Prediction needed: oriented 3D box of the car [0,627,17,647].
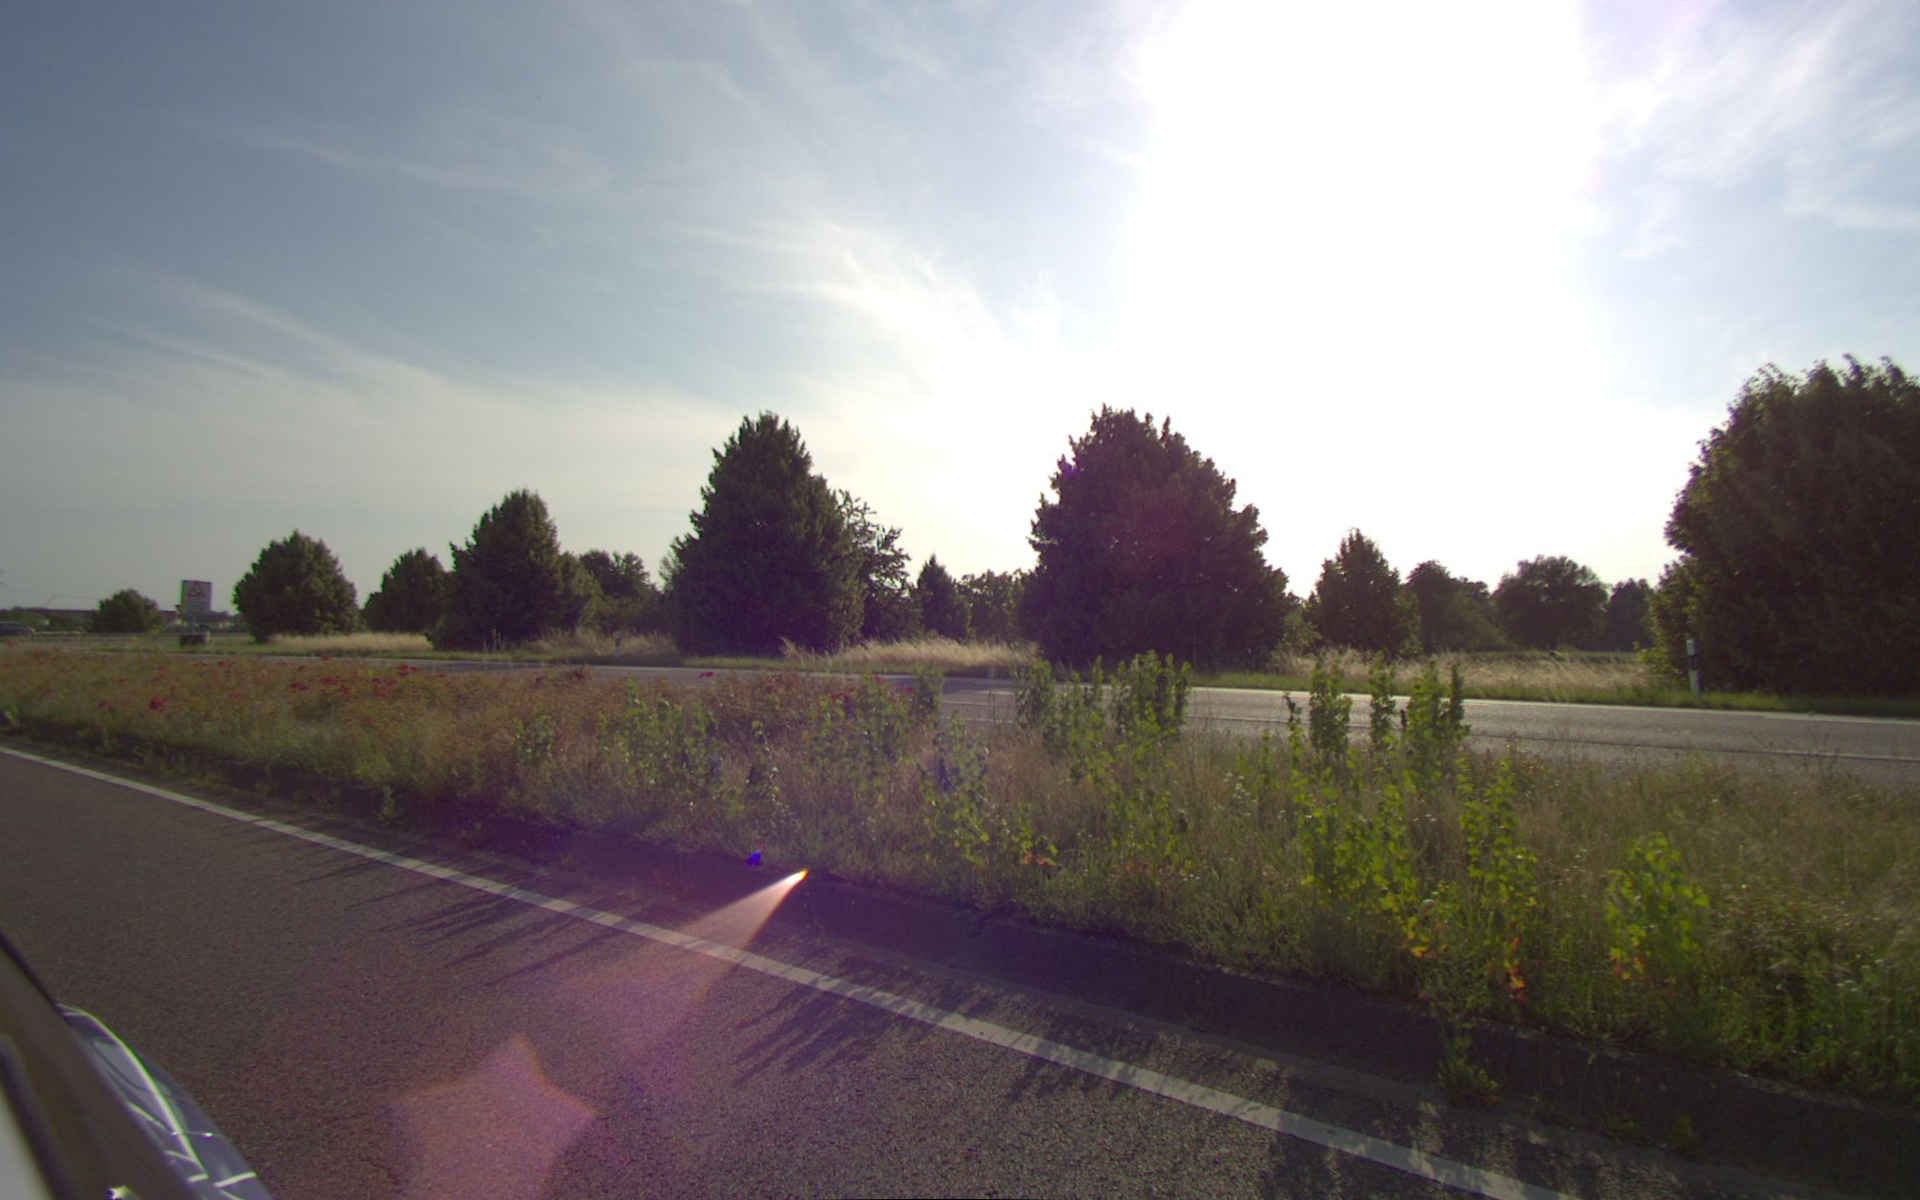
[{"bbox_3d":[-66.909,2.557,68.582,1.944,1.409,3.975,-1,-1,19],"label":"car"}]
